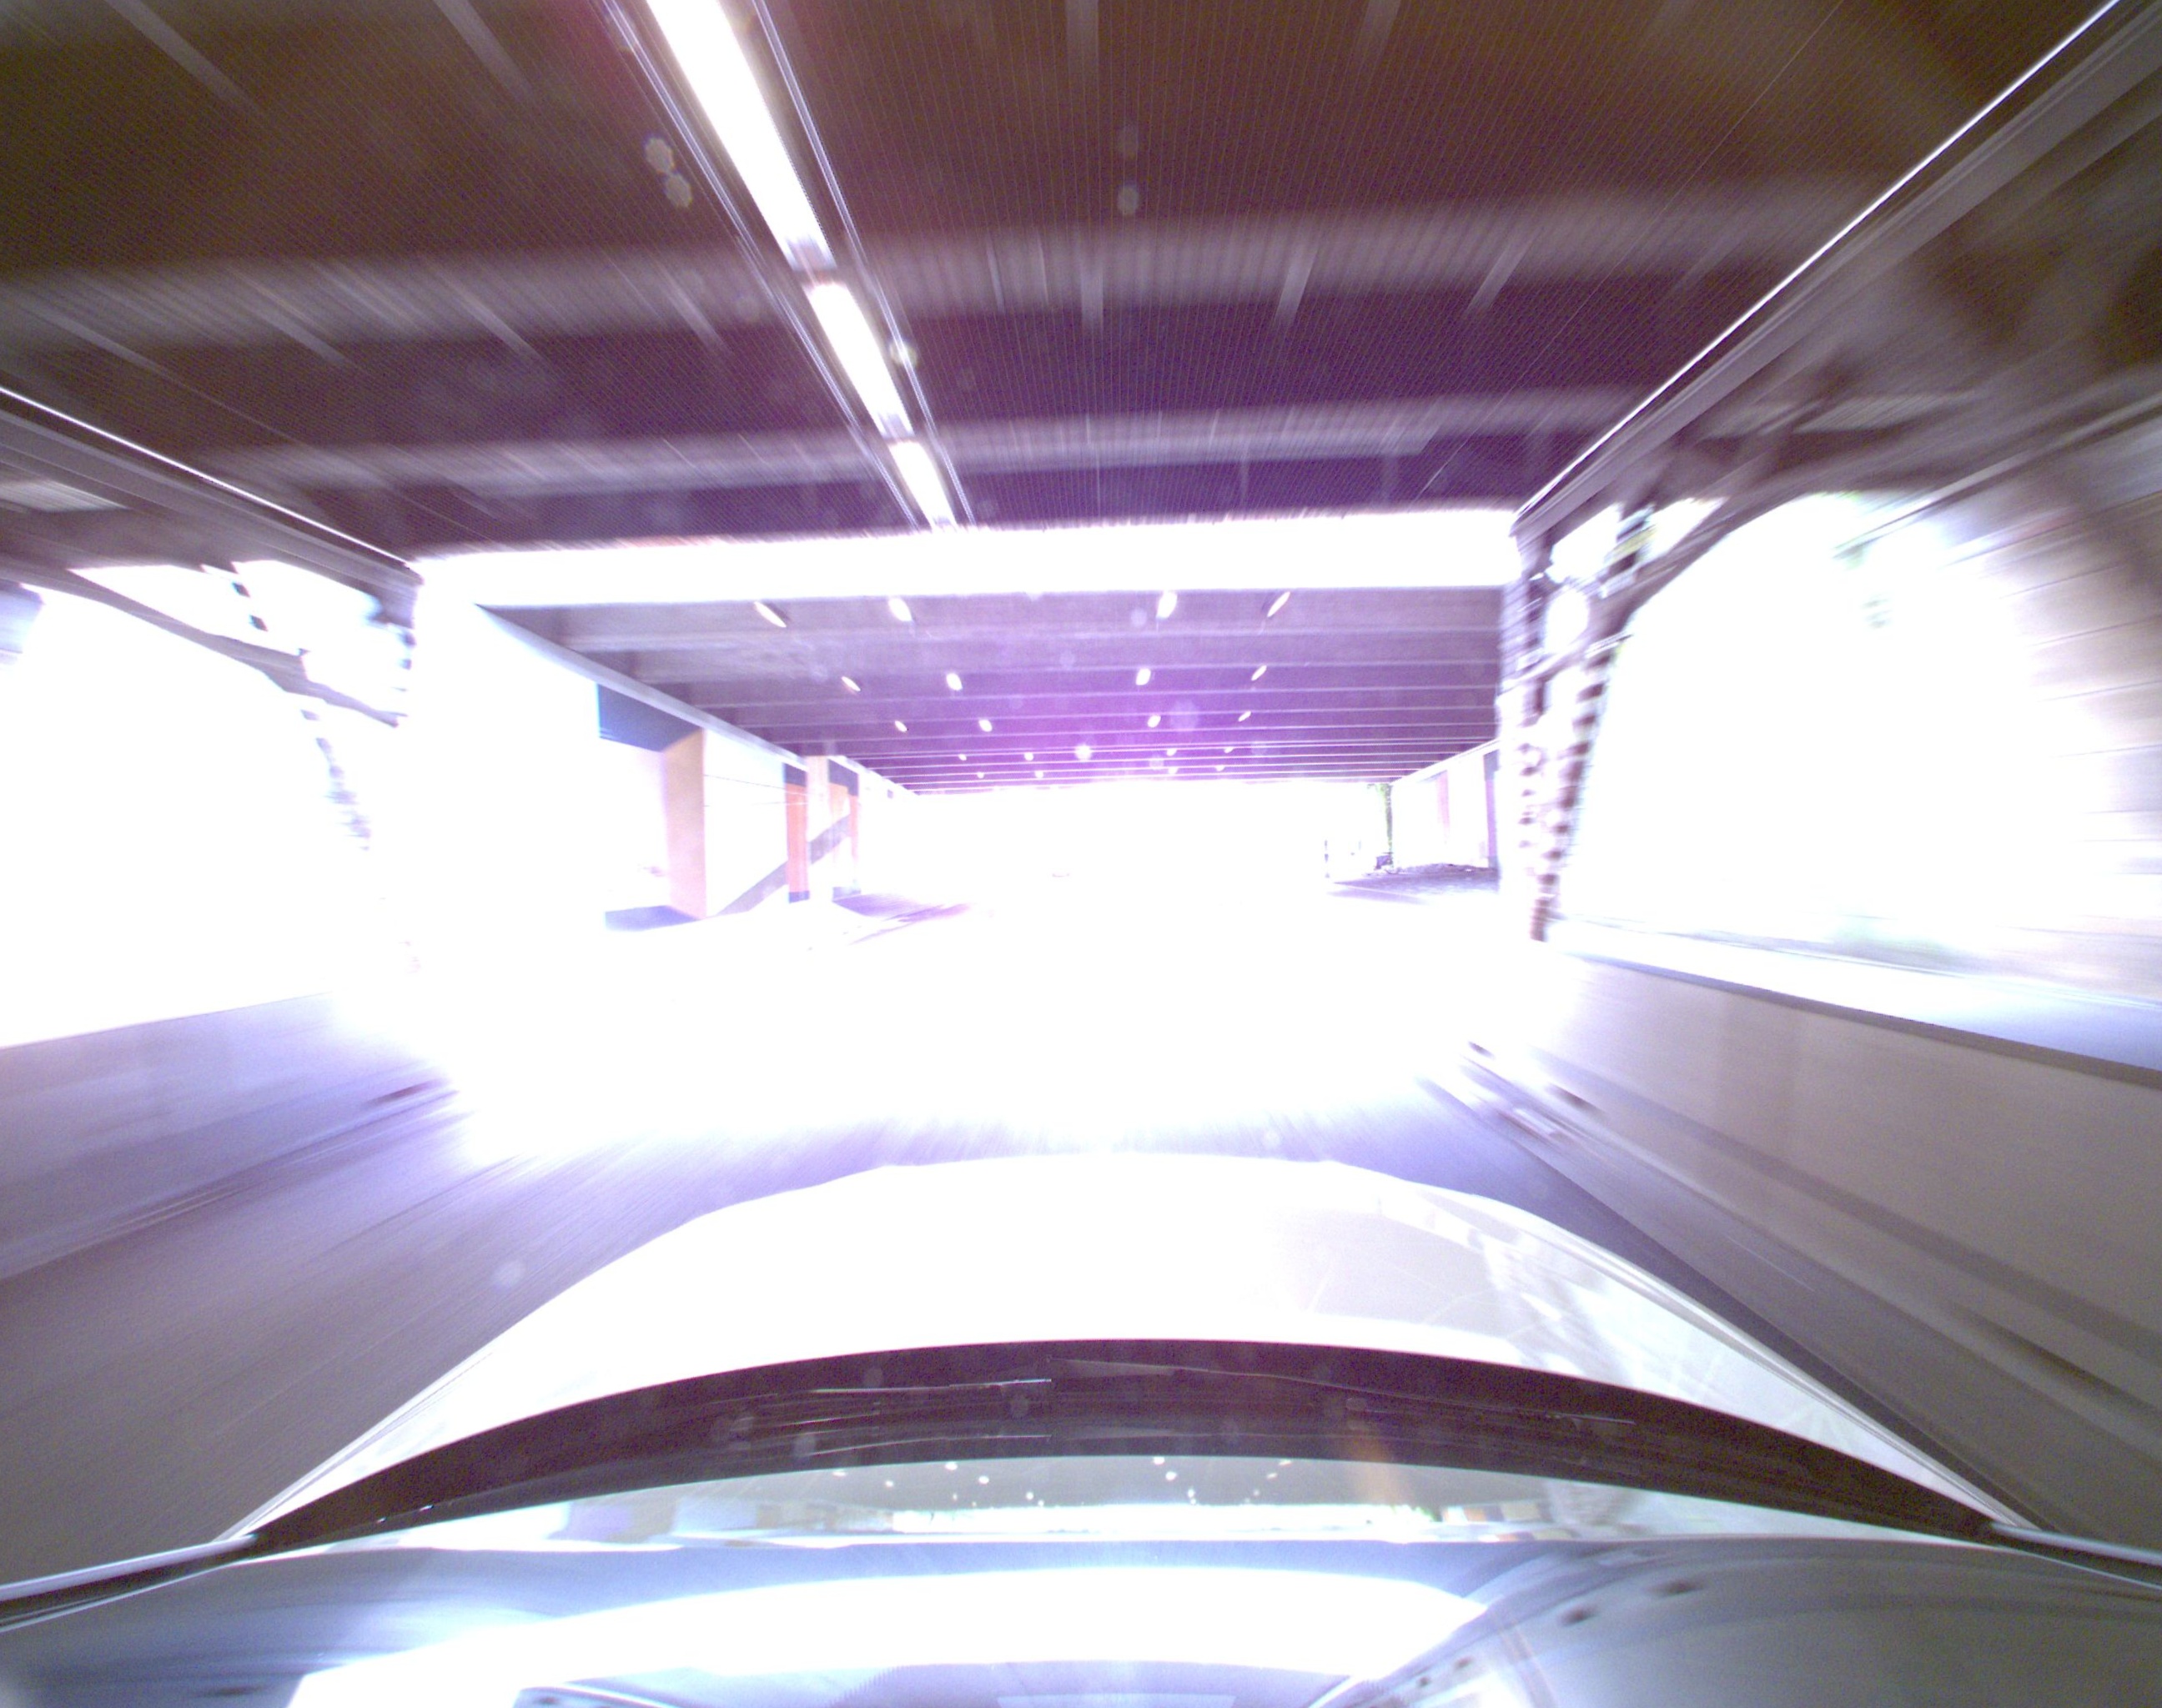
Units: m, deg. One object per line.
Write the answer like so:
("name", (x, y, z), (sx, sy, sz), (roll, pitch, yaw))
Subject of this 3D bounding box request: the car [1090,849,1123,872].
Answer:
("car", (1.770, 0.429, 55.395), (1.661, 1.447, 3.863), (-3, 0, 10))

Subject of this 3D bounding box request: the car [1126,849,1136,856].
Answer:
("car", (9.299, -0.290, 152.614), (1.703, 1.354, 4.001), (-1, 0, 1))

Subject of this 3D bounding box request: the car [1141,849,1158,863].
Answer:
("car", (7.746, 0.233, 92.762), (1.816, 1.519, 4.237), (-2, 0, 4))

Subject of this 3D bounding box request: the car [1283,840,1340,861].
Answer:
("car", (20.922, -0.336, 73.983), (4.635, 1.688, 2.011), (-2, 0, 24))

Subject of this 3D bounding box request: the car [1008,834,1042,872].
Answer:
("car", (-4.002, -0.104, 59.100), (1.961, 2.607, 5.930), (0, 0, 0))

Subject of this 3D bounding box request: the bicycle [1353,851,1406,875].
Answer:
("bicycle", (12.276, 0.377, 33.524), (1.938, 0.904, 0.507), (-3, -1, 0))

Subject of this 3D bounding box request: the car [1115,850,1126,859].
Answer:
("car", (6.452, 0.038, 133.980), (1.703, 1.354, 4.001), (-1, 0, 1))

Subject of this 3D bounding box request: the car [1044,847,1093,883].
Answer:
("car", (-0.599, 0.529, 42.417), (1.815, 1.654, 4.223), (-3, 0, 8))

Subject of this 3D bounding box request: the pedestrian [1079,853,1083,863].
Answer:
("pedestrian", (0.061, 0.661, 130.136), (0.549, 1.686, 0.516), (-1, 0, 1))

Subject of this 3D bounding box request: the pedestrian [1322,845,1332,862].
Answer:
("pedestrian", (24.461, -0.077, 81.050), (0.698, 1.674, 0.613), (-1, 0, -19))
